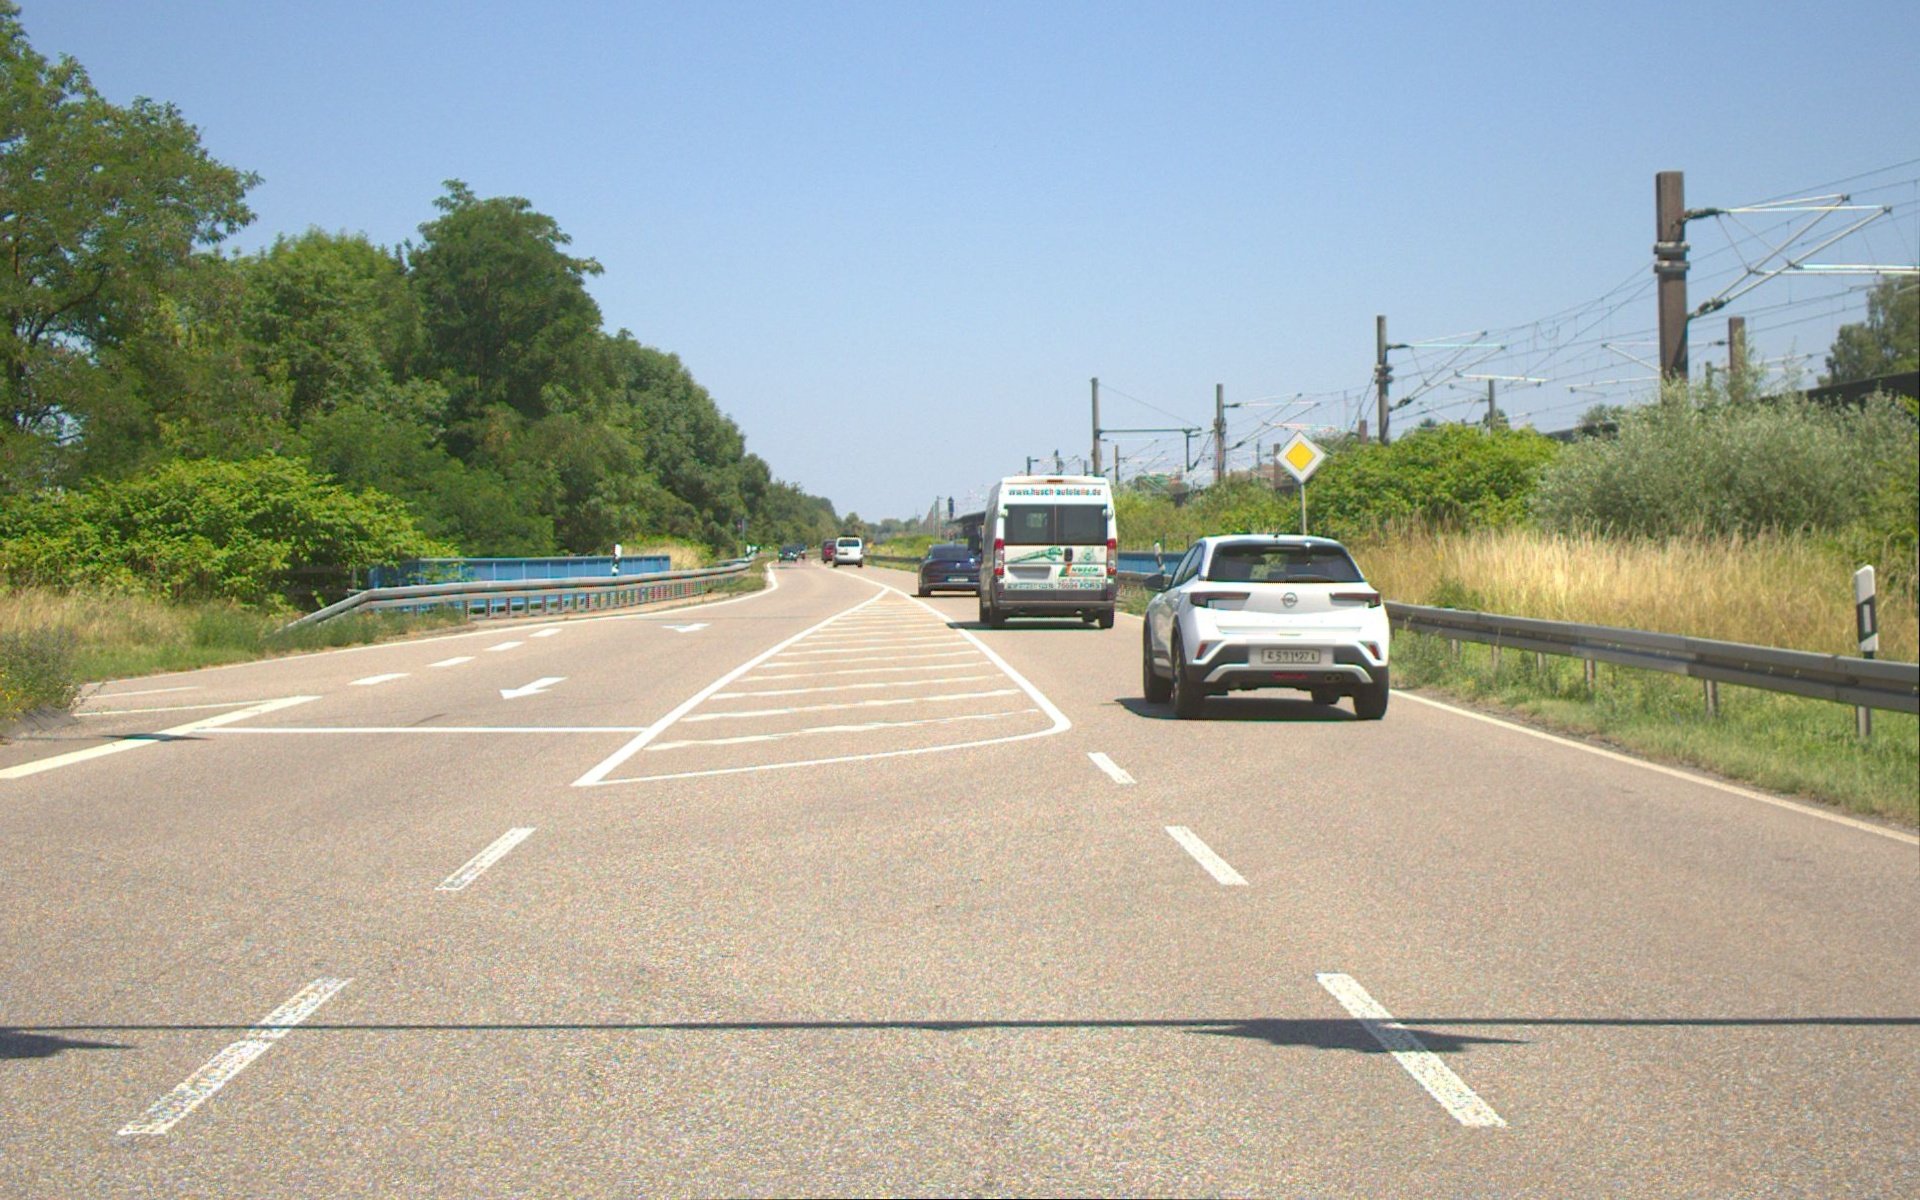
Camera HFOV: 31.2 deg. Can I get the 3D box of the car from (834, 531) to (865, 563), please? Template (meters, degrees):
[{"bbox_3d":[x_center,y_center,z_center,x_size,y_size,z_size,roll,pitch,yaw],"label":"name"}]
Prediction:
[{"bbox_3d":[-7.197,-3.460,223.619,1.993,1.977,4.060,1,1,-2],"label":"car"}]

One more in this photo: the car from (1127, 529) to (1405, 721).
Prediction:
[{"bbox_3d":[2.590,0.159,30.071,1.817,1.558,4.279,0,1,-3],"label":"car"}]

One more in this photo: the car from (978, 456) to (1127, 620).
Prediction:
[{"bbox_3d":[1.498,-1.057,58.332,2.188,2.595,6.751,1,1,-1],"label":"car"}]

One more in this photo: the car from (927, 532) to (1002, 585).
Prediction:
[{"bbox_3d":[0.093,-1.136,92.452,1.856,1.375,4.504,1,1,-2],"label":"car"}]
